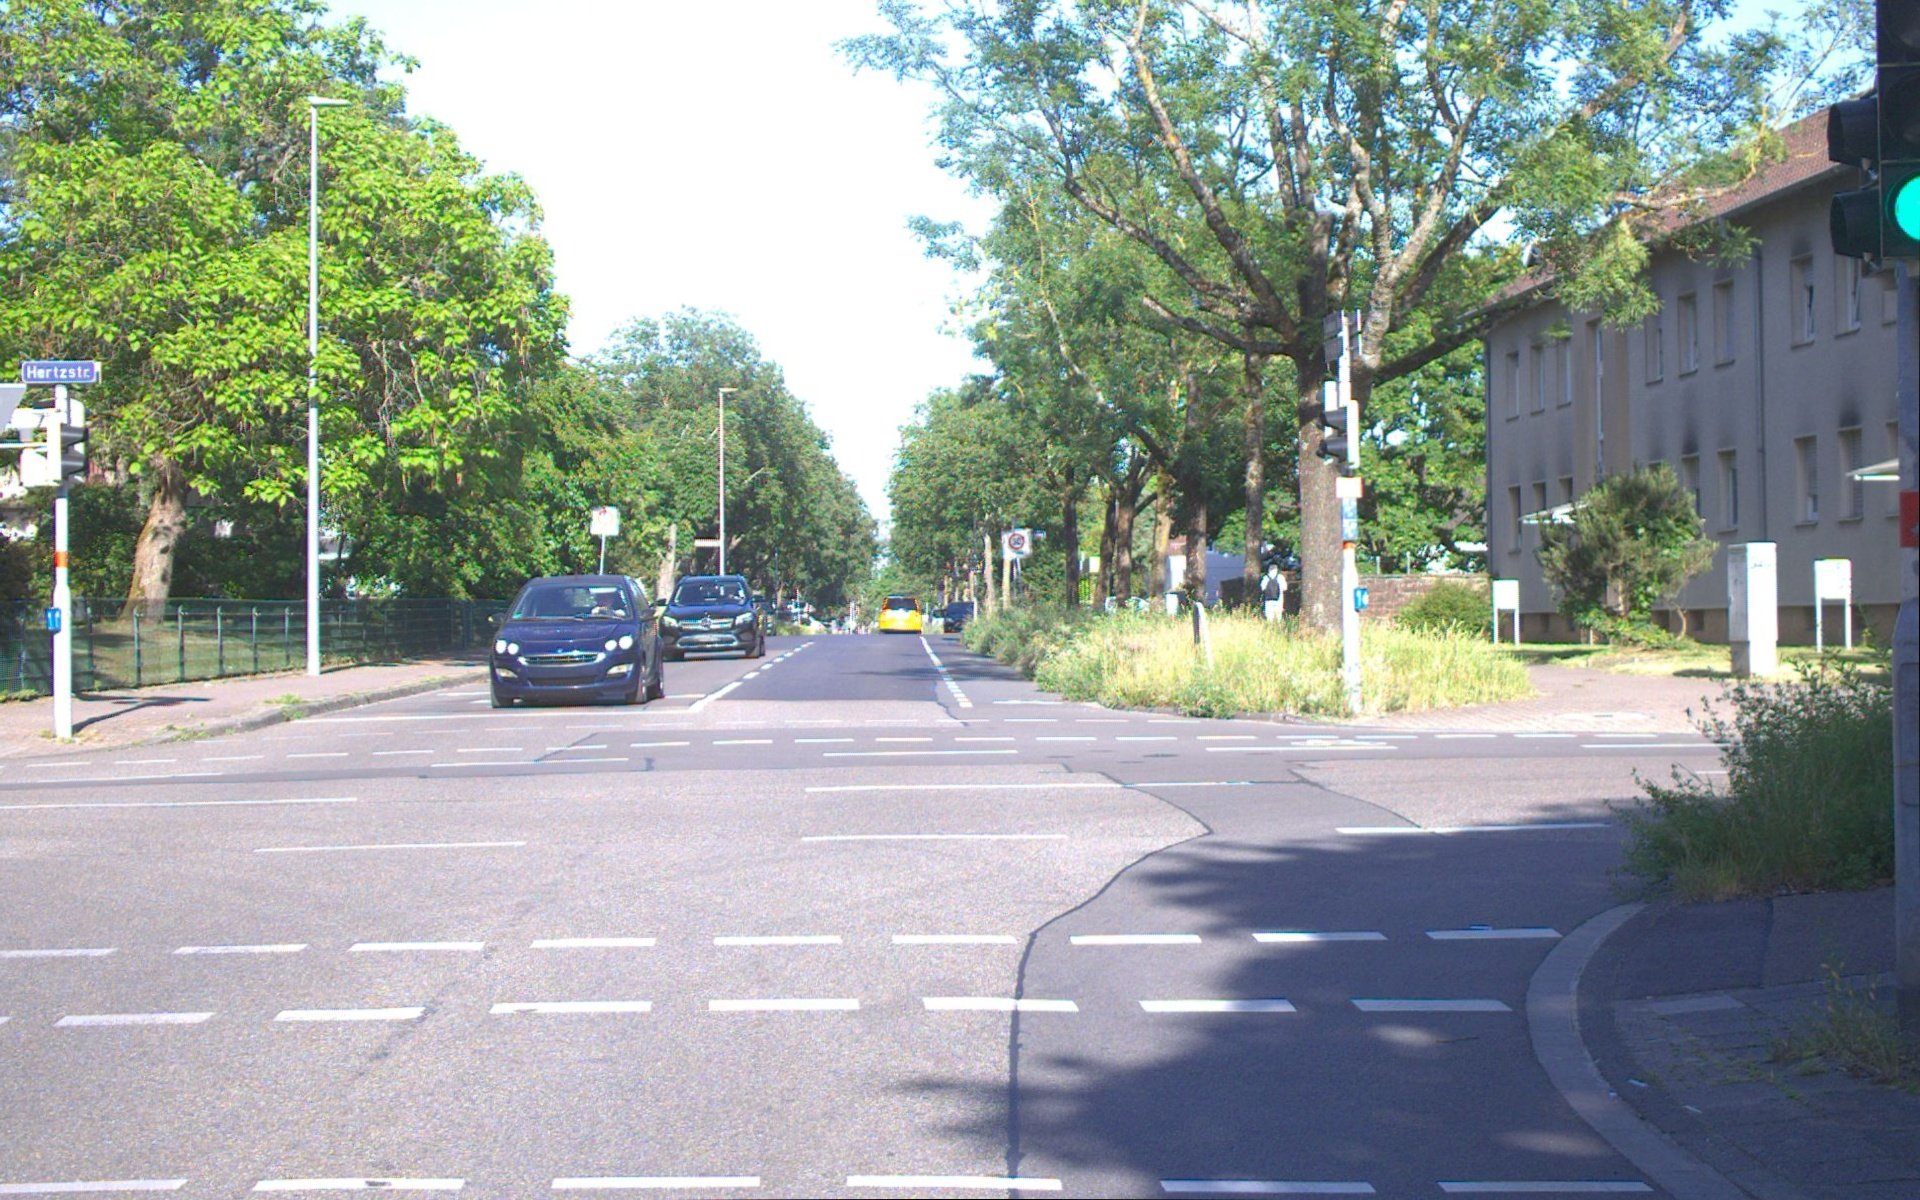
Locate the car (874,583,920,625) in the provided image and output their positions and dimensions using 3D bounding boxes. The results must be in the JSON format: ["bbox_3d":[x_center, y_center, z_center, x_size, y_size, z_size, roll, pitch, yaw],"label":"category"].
[{"bbox_3d":[-2.436,0.140,134.032,1.751,1.577,4.000,1,0,0],"label":"car"}]

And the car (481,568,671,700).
[{"bbox_3d":[-4.262,0.351,38.605,1.711,1.381,3.471,0,1,0],"label":"car"}]

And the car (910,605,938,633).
[{"bbox_3d":[-2.269,1.182,219.224,1.773,1.748,4.000,1,0,0],"label":"car"}]

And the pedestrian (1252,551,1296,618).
[{"bbox_3d":[7.122,-0.365,78.038,0.842,1.488,0.924,2,1,-1],"label":"pedestrian"}]

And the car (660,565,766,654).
[{"bbox_3d":[-4.691,0.159,65.721,1.758,1.619,3.268,0,1,0],"label":"car"}]
